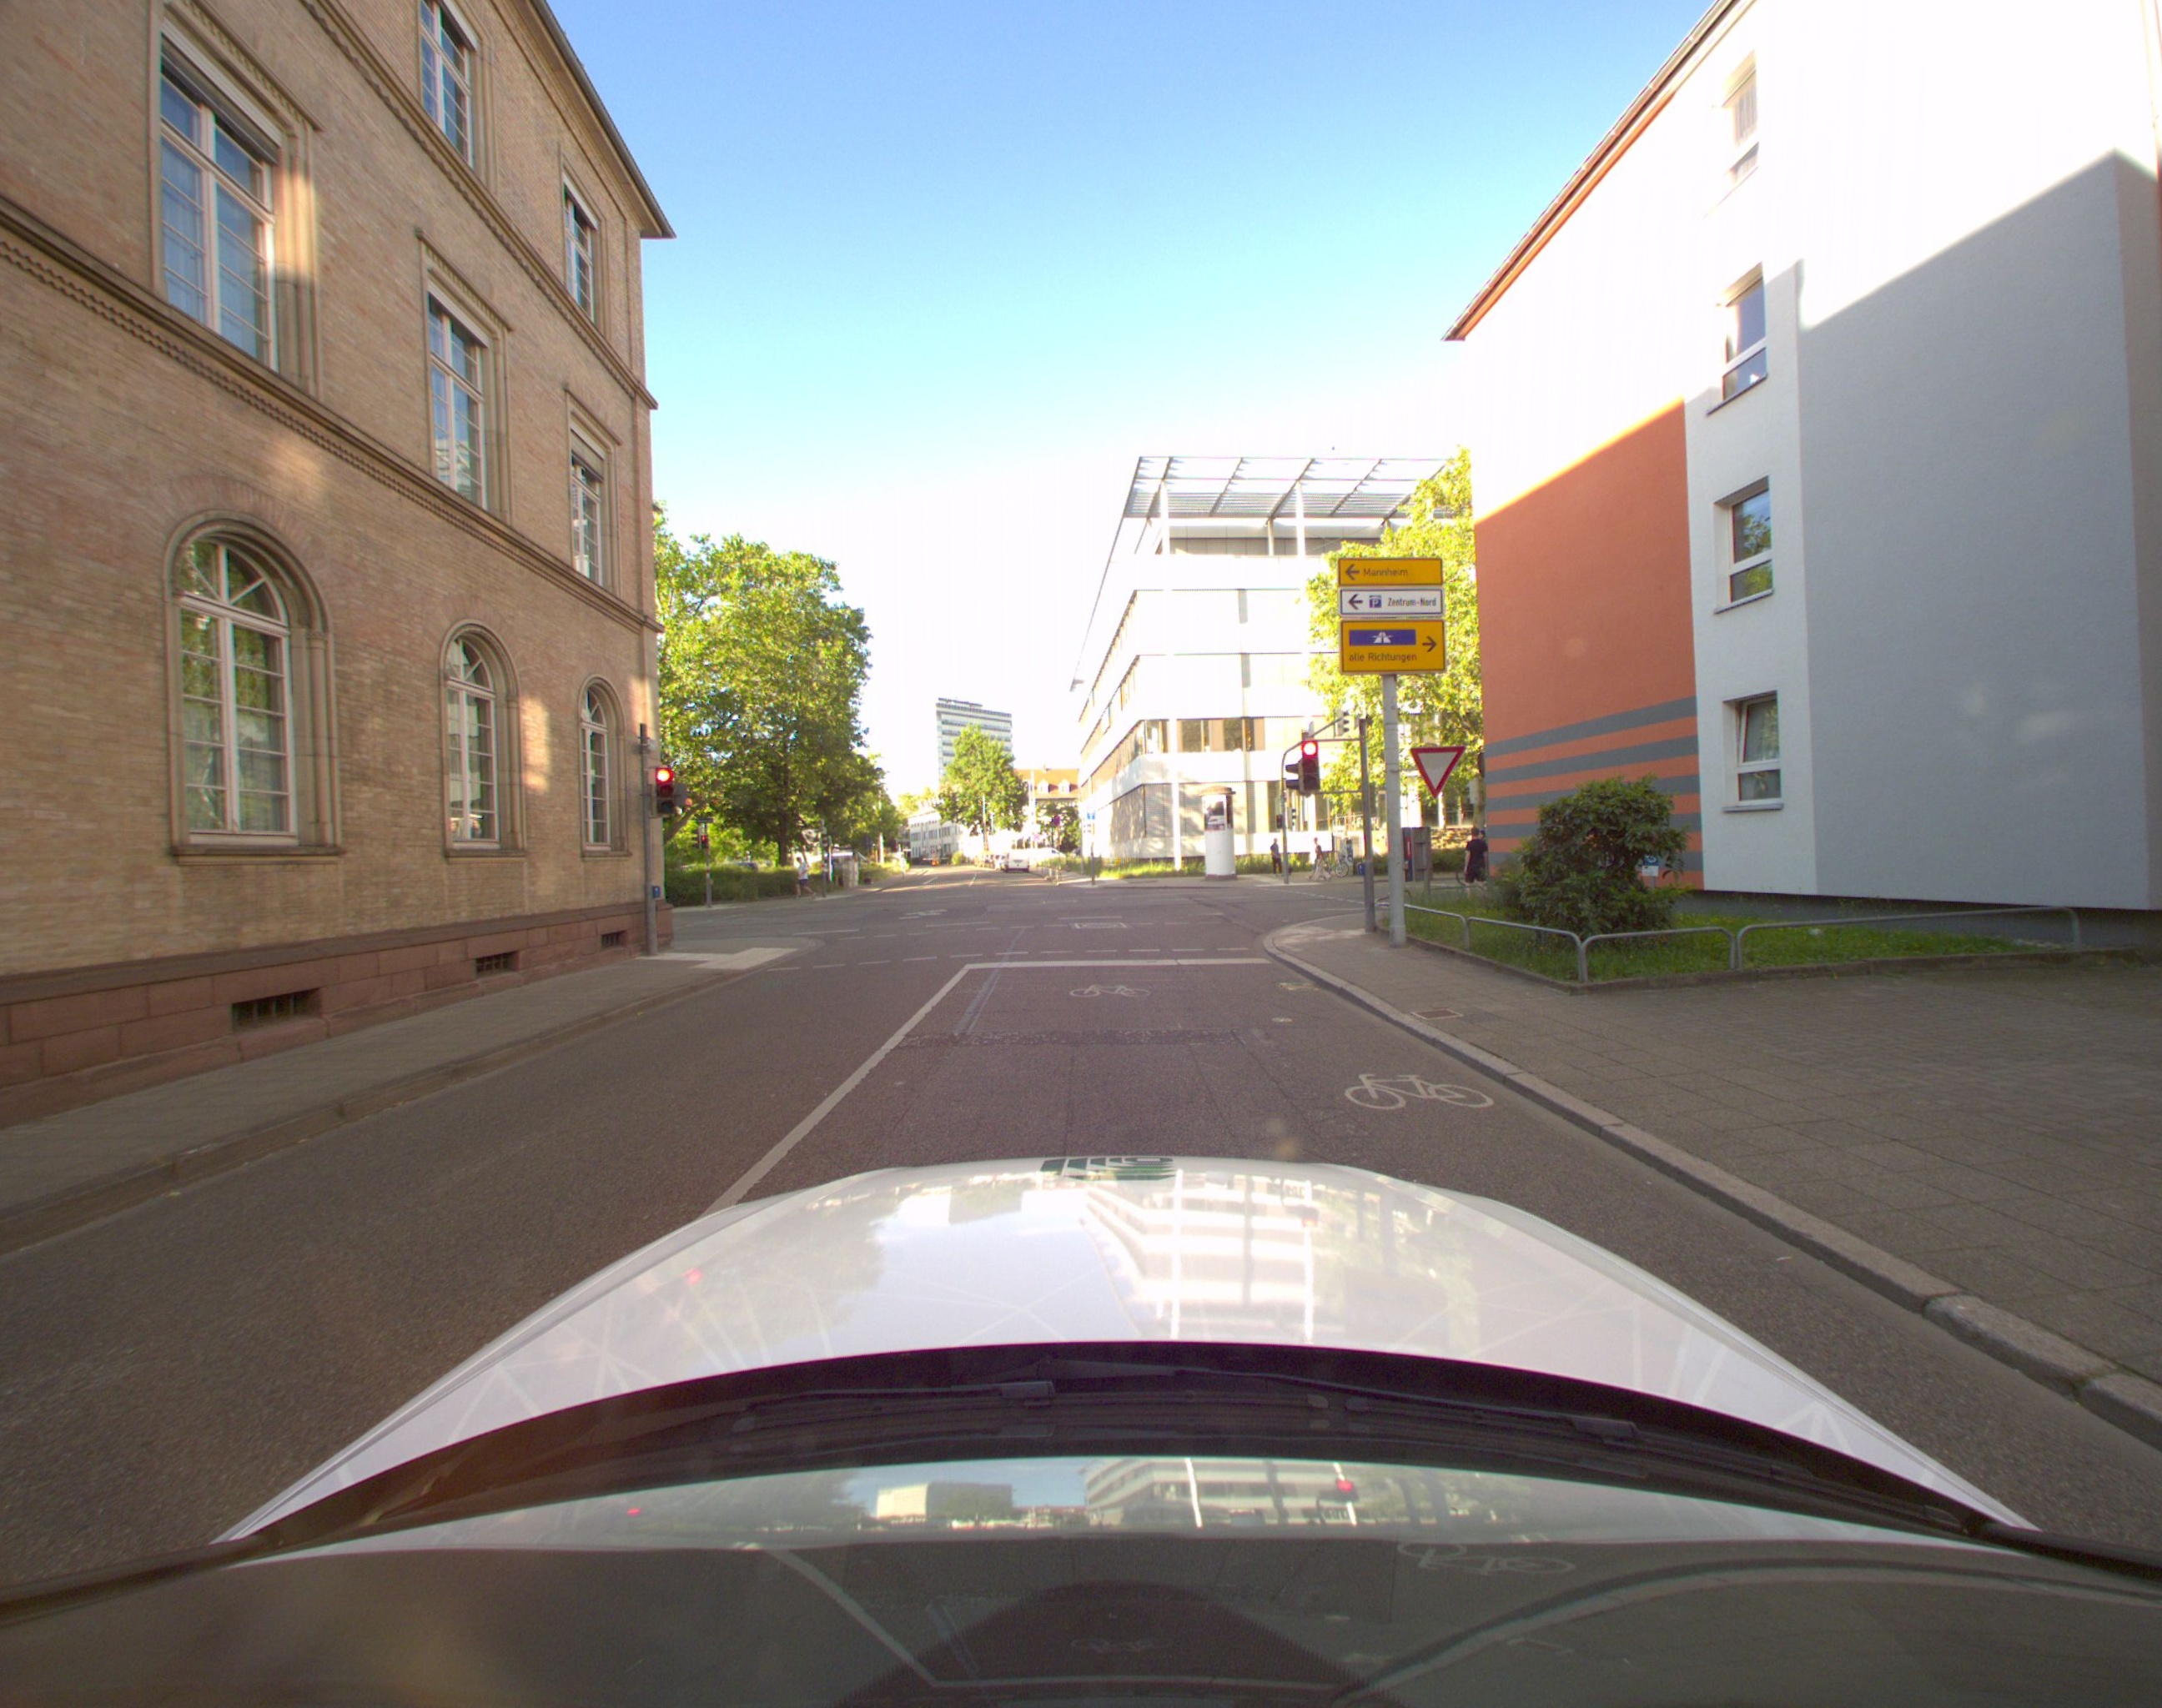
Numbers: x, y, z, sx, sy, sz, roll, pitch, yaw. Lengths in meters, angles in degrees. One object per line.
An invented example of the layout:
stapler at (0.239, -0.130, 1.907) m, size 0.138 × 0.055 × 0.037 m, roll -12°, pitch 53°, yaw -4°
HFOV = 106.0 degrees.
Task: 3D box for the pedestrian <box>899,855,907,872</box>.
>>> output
pedestrian at (-16.576, 0.850, 75.839) m, size 0.700 × 1.587 × 0.633 m, roll 0°, pitch -1°, yaw -14°

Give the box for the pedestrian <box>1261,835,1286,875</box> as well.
pedestrian at (8.961, 0.041, 37.902) m, size 0.905 × 1.815 × 0.767 m, roll -1°, pitch -1°, yaw 31°

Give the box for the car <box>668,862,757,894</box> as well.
car at (-17.082, 1.090, 37.908) m, size 3.407 × 1.457 × 1.646 m, roll 0°, pitch -1°, yaw -8°

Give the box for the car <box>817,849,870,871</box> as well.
car at (-22.027, 0.528, 75.773) m, size 4.441 × 2.014 × 1.995 m, roll 0°, pitch -1°, yaw -8°

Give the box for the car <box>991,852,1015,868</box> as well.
car at (-7.846, 0.587, 81.633) m, size 1.994 × 1.499 × 4.270 m, roll 0°, pitch -1°, yaw -11°

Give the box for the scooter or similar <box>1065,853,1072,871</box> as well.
scooter or similar at (-0.914, 0.582, 58.483) m, size 0.436 × 1.256 × 1.418 m, roll -2°, pitch 0°, yaw -2°

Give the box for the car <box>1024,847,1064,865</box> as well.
car at (-4.688, 0.277, 103.256) m, size 4.802 × 2.159 × 1.989 m, roll 0°, pitch -1°, yaw -16°

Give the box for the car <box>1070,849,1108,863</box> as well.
car at (1.018, 0.261, 104.963) m, size 4.644 × 1.725 × 1.990 m, roll 0°, pitch -1°, yaw -15°

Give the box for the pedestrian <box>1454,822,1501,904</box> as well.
pedestrian at (9.015, 0.211, 18.524) m, size 0.723 × 1.810 × 0.693 m, roll 0°, pitch -1°, yaw -39°

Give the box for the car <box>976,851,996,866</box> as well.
car at (-11.305, 0.540, 96.309) m, size 1.995 × 1.725 × 4.633 m, roll 0°, pitch -1°, yaw -11°

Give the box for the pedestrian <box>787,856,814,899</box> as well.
pedestrian at (-12.241, 1.012, 35.502) m, size 0.921 × 1.869 × 0.734 m, roll 0°, pitch -1°, yaw -39°

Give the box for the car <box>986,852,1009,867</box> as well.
car at (-8.888, 0.593, 86.386) m, size 1.994 × 1.499 × 4.635 m, roll 0°, pitch -1°, yaw -10°

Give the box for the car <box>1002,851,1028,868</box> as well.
car at (-5.849, 0.480, 71.359) m, size 1.993 × 1.499 × 4.638 m, roll 0°, pitch -1°, yaw -8°

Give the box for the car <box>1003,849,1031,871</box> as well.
car at (-5.174, 0.469, 65.125) m, size 1.992 × 1.725 × 4.640 m, roll 0°, pitch -1°, yaw -7°

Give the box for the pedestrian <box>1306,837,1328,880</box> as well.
pedestrian at (10.076, 0.192, 34.766) m, size 0.761 × 1.795 × 0.648 m, roll 0°, pitch -1°, yaw 5°

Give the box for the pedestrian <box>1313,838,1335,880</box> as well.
pedestrian at (10.155, 0.214, 34.044) m, size 0.761 × 1.719 × 0.648 m, roll 0°, pitch -1°, yaw 4°

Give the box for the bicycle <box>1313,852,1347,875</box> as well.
bicycle at (11.007, 0.426, 36.035) m, size 0.381 × 1.008 × 1.416 m, roll -2°, pitch 0°, yaw -40°

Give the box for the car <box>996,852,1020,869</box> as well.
car at (-6.923, 0.610, 77.159) m, size 1.993 × 1.499 × 4.638 m, roll 0°, pitch -1°, yaw -8°
